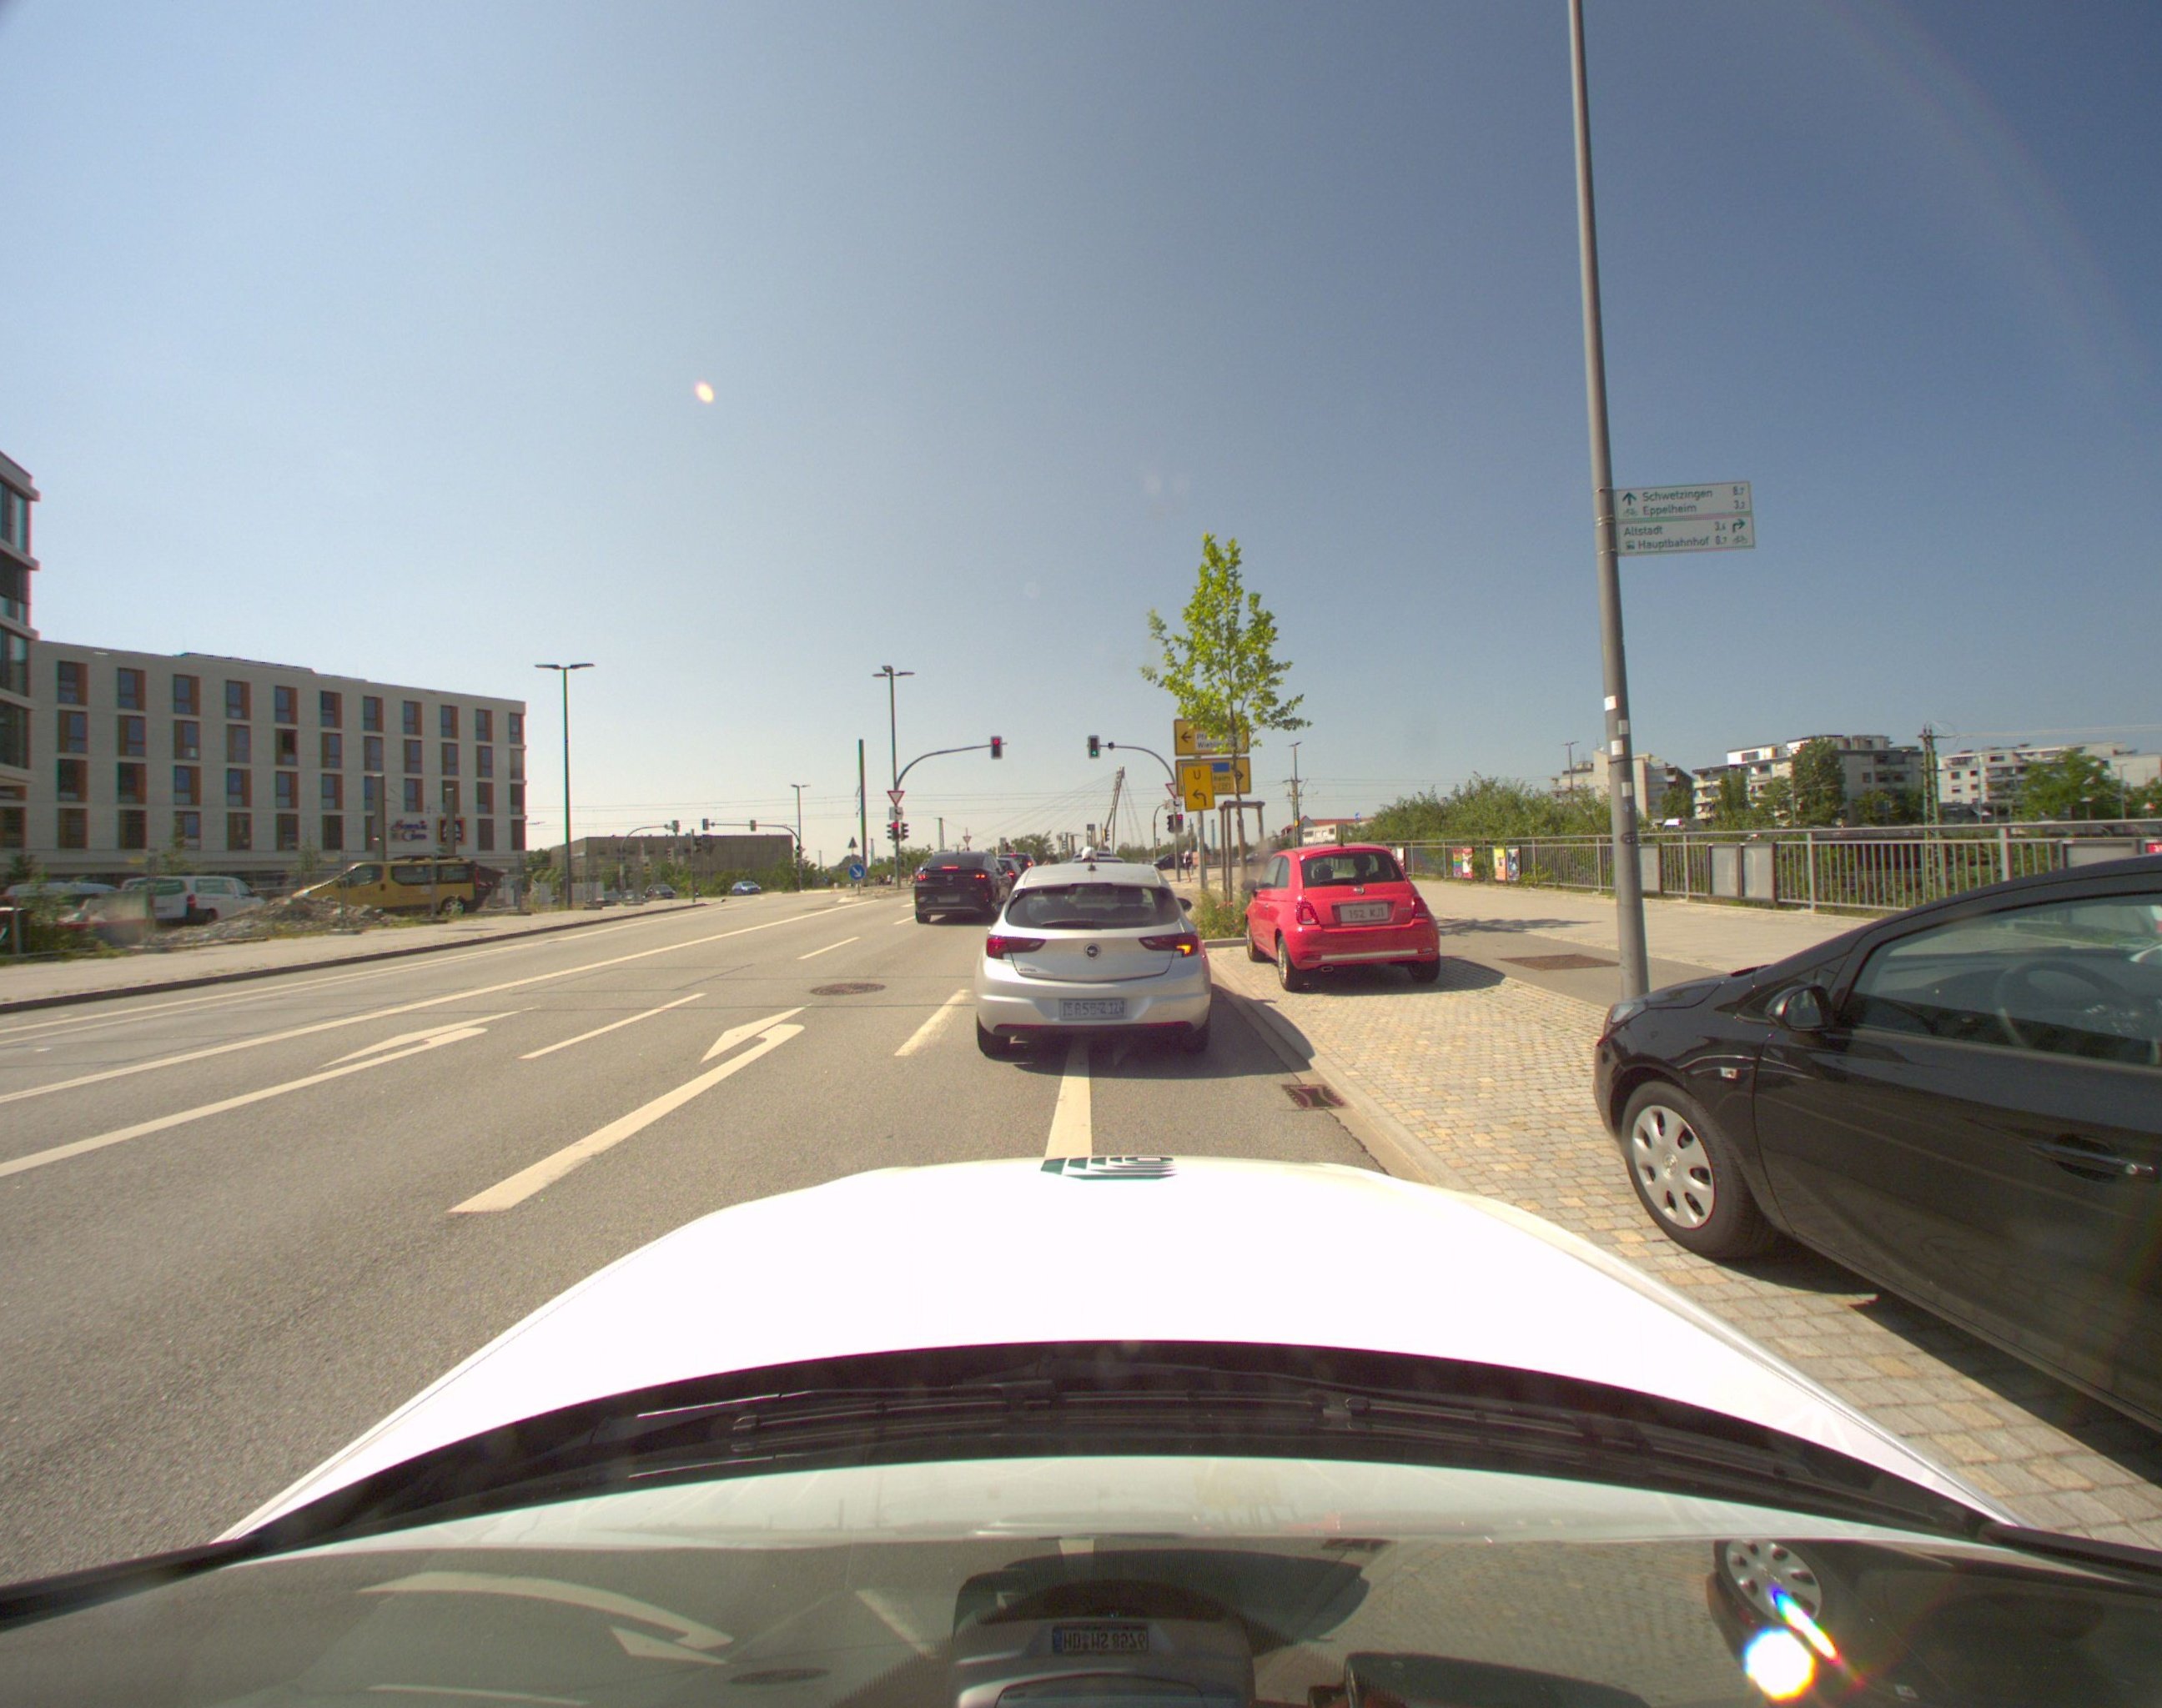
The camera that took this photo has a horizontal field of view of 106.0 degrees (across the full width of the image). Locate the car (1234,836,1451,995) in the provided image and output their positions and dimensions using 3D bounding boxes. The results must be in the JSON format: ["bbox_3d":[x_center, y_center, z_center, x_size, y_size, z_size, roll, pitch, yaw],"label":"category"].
[{"bbox_3d":[2.921,0.607,9.794,1.603,1.496,3.355,-4,0,3],"label":"car"}]

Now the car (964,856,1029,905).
[{"bbox_3d":[-2.605,0.791,25.853,1.569,1.434,3.786,0,-1,1],"label":"car"}]

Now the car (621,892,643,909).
[{"bbox_3d":[-44.685,4.610,81.070,1.578,1.587,3.441,0,-1,-35],"label":"car"}]

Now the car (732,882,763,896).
[{"bbox_3d":[-33.197,3.525,81.077,1.831,1.331,3.954,0,-2,-38],"label":"car"}]

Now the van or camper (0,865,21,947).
[{"bbox_3d":[-36.462,1.723,25.292,2.318,2.735,4.944,0,-1,-26],"label":"van or camper"}]

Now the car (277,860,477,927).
[{"bbox_3d":[-22.674,1.196,26.399,1.964,1.962,4.655,-1,-1,40],"label":"car"}]

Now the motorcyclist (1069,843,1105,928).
[{"bbox_3d":[0.104,0.521,13.658,0.579,1.389,0.707,0,-1,1],"label":"motorcyclist"}]

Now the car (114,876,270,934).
[{"bbox_3d":[-31.043,1.695,28.664,1.873,1.774,4.619,0,-1,-22],"label":"car"}]

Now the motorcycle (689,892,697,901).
[{"bbox_3d":[-43.368,4.753,90.971,0.523,0.955,1.913,0,-1,-35],"label":"motorcycle"}]

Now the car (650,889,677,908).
[{"bbox_3d":[-38.397,4.067,74.844,1.686,1.476,3.368,-2,0,-37],"label":"car"}]

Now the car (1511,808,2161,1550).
[{"bbox_3d":[2.885,0.592,1.932,1.654,1.426,4.001,-3,-1,2],"label":"car"}]

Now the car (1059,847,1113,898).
[{"bbox_3d":[0.230,0.569,27.705,1.717,1.563,4.002,0,1,2],"label":"car"}]

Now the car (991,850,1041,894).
[{"bbox_3d":[-2.496,0.680,32.027,1.644,1.615,3.819,0,-1,0],"label":"car"}]

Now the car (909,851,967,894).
[{"bbox_3d":[-5.412,0.695,31.248,1.592,1.547,3.761,0,-1,0],"label":"car"}]

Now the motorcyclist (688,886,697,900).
[{"bbox_3d":[-43.429,4.383,90.996,0.756,1.494,0.670,0,-1,-36],"label":"motorcyclist"}]

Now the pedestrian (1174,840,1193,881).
[{"bbox_3d":[4.702,0.301,37.375,0.645,1.836,0.798,-4,-1,0],"label":"pedestrian"}]

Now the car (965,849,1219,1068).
[{"bbox_3d":[0.058,0.729,7.593,1.738,1.478,3.998,0,-1,-1],"label":"car"}]

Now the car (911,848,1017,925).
[{"bbox_3d":[-2.673,0.711,19.625,1.795,1.641,4.367,0,-1,2],"label":"car"}]

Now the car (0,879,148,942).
[{"bbox_3d":[-33.541,1.813,27.204,1.795,1.857,3.816,0,-1,-27],"label":"car"}]

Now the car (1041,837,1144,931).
[{"bbox_3d":[0.294,0.563,17.984,1.986,1.820,4.404,0,0,2],"label":"car"}]
